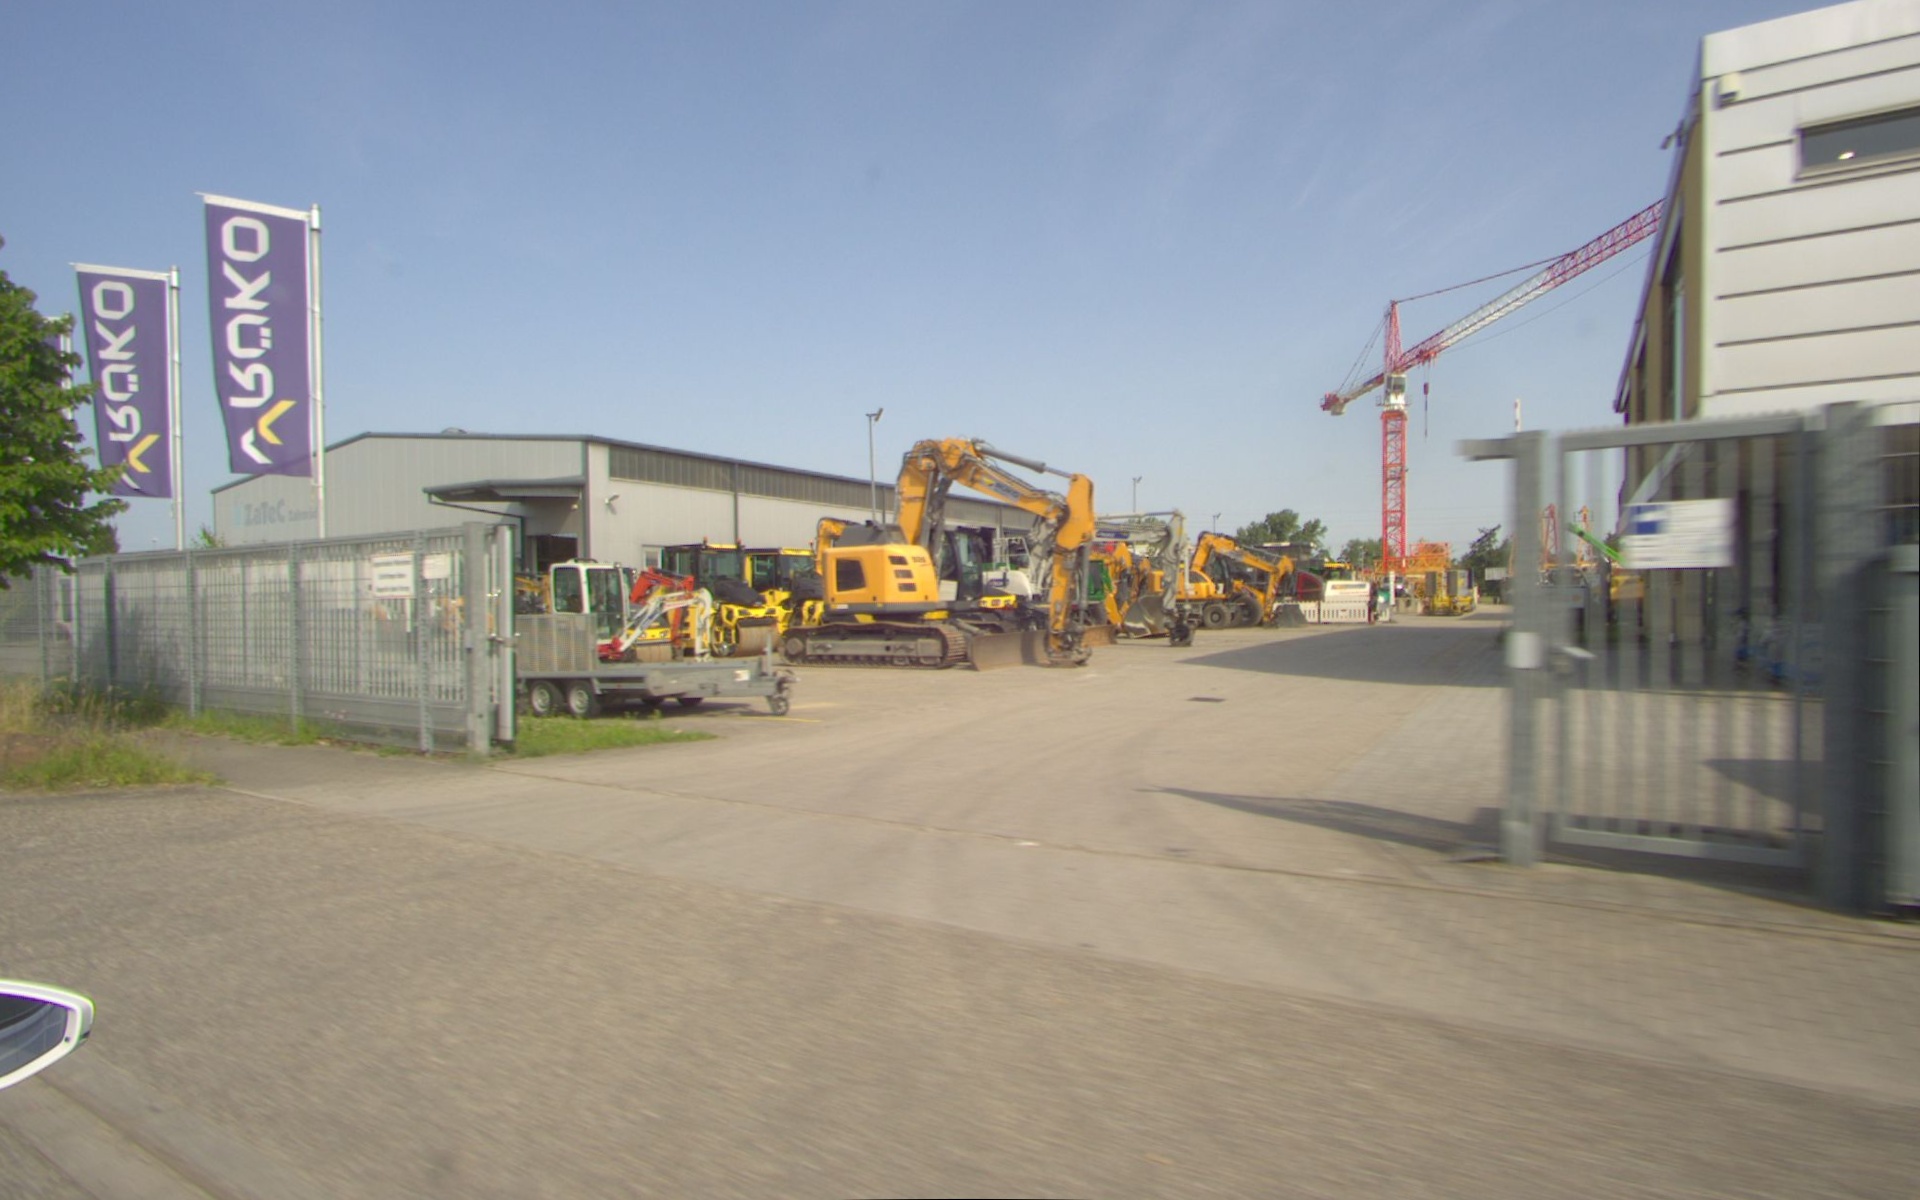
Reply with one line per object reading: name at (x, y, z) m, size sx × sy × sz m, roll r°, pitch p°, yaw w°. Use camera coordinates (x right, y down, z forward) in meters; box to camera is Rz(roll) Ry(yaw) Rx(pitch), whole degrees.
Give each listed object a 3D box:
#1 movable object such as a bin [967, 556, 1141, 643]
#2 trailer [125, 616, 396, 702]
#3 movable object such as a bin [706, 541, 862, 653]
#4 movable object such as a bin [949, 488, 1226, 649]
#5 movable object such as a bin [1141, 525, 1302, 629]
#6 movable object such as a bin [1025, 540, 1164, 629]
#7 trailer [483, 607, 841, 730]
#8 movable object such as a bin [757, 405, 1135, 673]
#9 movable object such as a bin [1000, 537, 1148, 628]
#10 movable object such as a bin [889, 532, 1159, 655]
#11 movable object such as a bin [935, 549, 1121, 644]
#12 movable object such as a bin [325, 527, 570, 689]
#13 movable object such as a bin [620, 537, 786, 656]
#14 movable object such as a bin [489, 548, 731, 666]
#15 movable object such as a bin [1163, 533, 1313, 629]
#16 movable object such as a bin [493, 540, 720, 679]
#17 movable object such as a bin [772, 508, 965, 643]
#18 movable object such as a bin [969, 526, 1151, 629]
movable object such as a bin at (3.180, -0.040, 34.337) m, size 5.605 × 2.806 × 2.050 m, roll 0°, pitch 1°, yaw 31°
trailer at (-12.251, 0.944, 17.485) m, size 4.724 × 1.260 × 2.122 m, roll 0°, pitch 0°, yaw 31°
movable object such as a bin at (-5.194, -0.083, 29.407) m, size 4.311 × 3.072 × 1.988 m, roll 0°, pitch 1°, yaw 33°
movable object such as a bin at (3.463, -0.800, 27.773) m, size 7.100 × 3.983 × 2.913 m, roll 0°, pitch 1°, yaw 31°
movable object such as a bin at (10.717, -0.867, 41.073) m, size 5.929 × 3.982 × 2.714 m, roll -1°, pitch 1°, yaw 28°
movable object such as a bin at (6.366, -0.685, 47.559) m, size 6.048 × 3.982 × 2.448 m, roll -1°, pitch 1°, yaw 28°
trailer at (-3.912, 0.793, 12.912) m, size 4.500 × 1.328 × 1.989 m, roll -1°, pitch -1°, yaw 33°
movable object such as a bin at (-0.401, -1.119, 21.579) m, size 7.558 × 4.871 × 3.310 m, roll 0°, pitch 1°, yaw 31°
movable object such as a bin at (5.028, -0.714, 44.473) m, size 6.048 × 3.832 × 2.448 m, roll -1°, pitch 1°, yaw 28°
movable object such as a bin at (1.553, -0.172, 25.174) m, size 6.254 × 2.753 × 2.695 m, roll 0°, pitch 1°, yaw 31°
movable object such as a bin at (2.119, -0.121, 31.954) m, size 5.605 × 2.806 × 2.050 m, roll 0°, pitch 1°, yaw 31°
movable object such as a bin at (-9.960, 0.148, 19.335) m, size 5.086 × 2.789 × 1.882 m, roll 0°, pitch 1°, yaw 33°
movable object such as a bin at (-7.185, -0.092, 27.928) m, size 4.428 × 3.072 × 1.988 m, roll 0°, pitch 1°, yaw 33°
movable object such as a bin at (-8.483, 0.156, 24.216) m, size 5.263 × 2.525 × 2.916 m, roll 0°, pitch 1°, yaw 33°
movable object such as a bin at (12.241, -0.769, 44.133) m, size 5.929 × 3.982 × 2.714 m, roll -1°, pitch 1°, yaw 28°
movable object such as a bin at (-7.168, 0.177, 20.129) m, size 4.700 × 2.491 × 1.986 m, roll 0°, pitch 1°, yaw 36°
movable object such as a bin at (-2.943, -0.703, 31.798) m, size 5.636 × 3.925 × 2.678 m, roll 0°, pitch 1°, yaw 33°
movable object such as a bin at (4.073, -0.845, 41.383) m, size 7.091 × 3.982 × 2.463 m, roll -1°, pitch 1°, yaw 29°
